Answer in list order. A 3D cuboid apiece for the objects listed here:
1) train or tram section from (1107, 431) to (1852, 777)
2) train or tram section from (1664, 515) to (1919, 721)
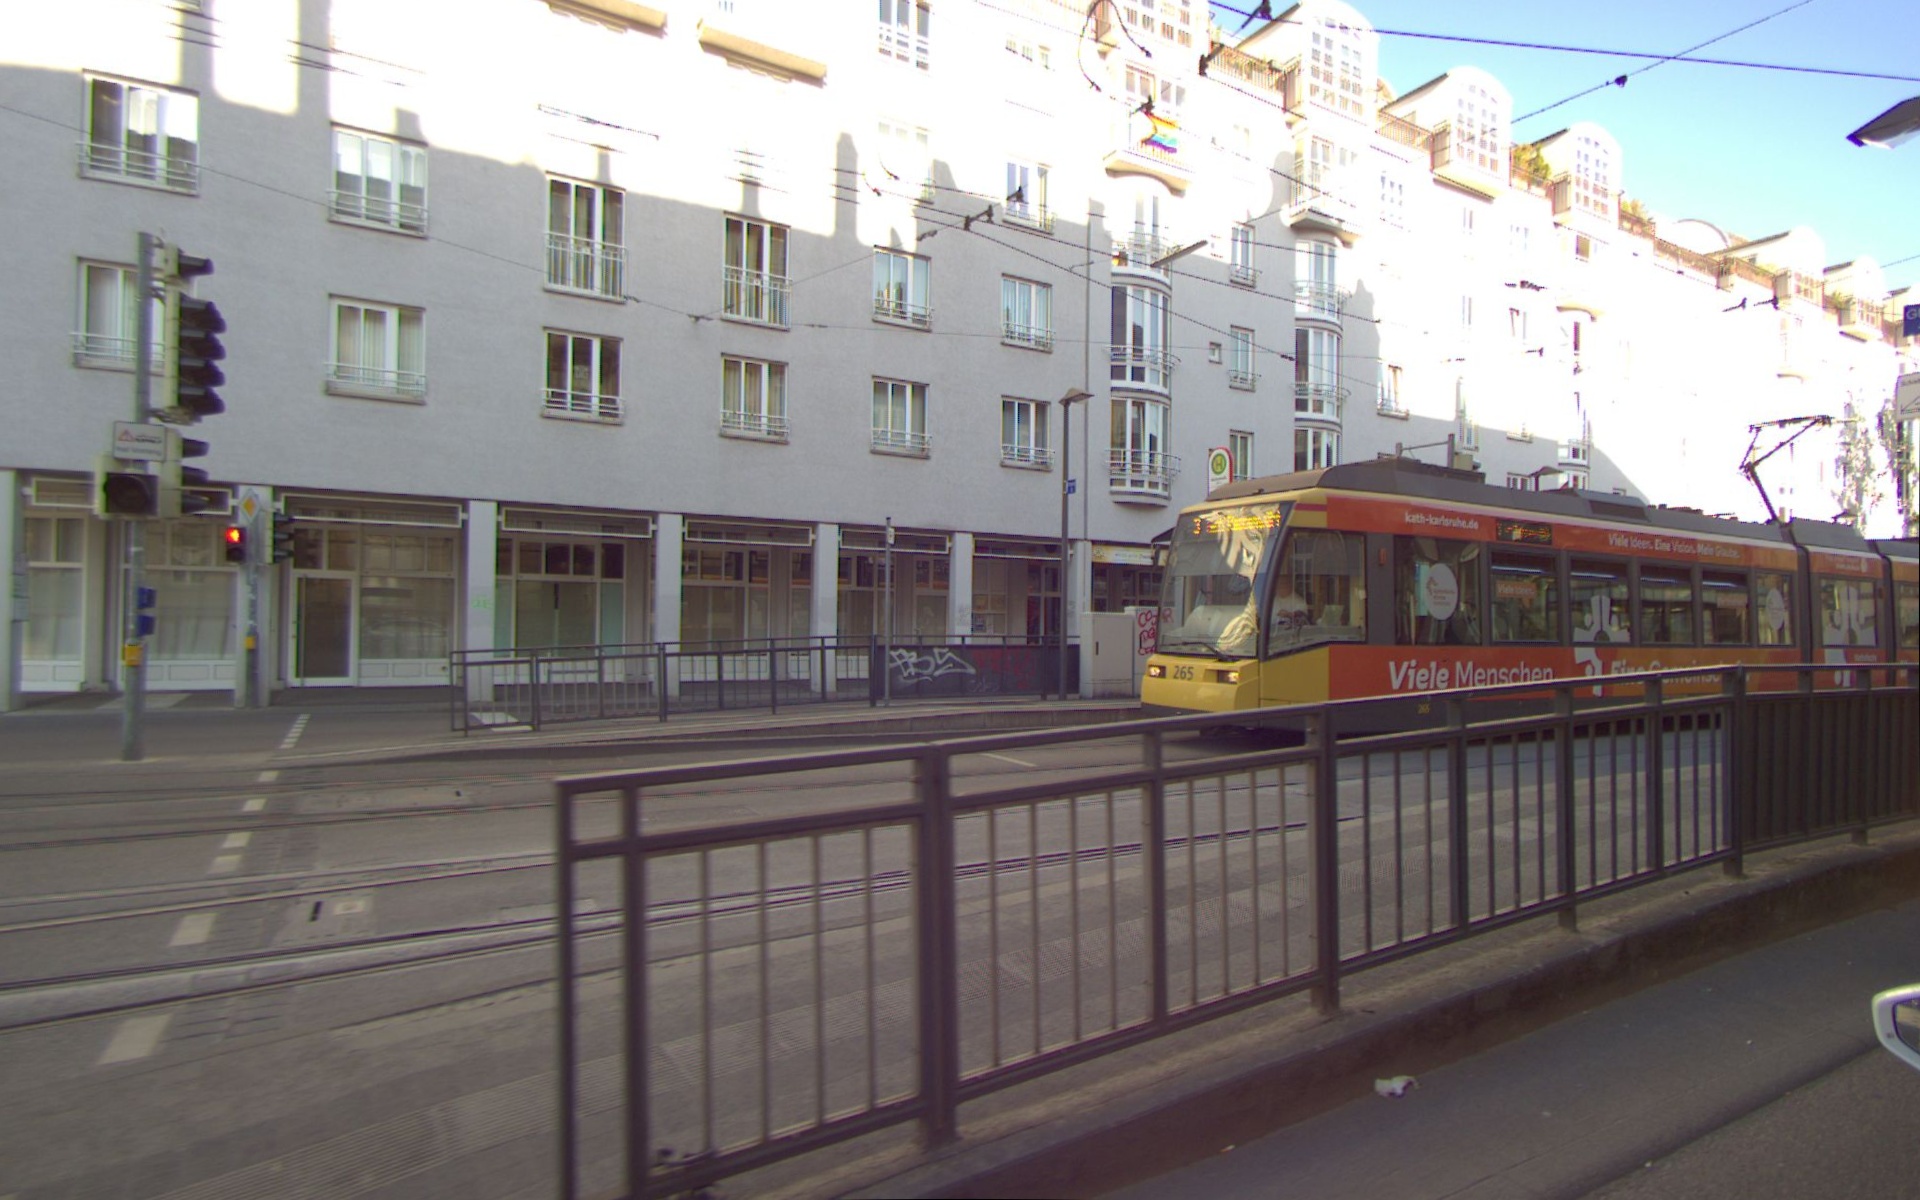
[{"bbox_3d":[8.610,0.229,15.044,14.001,3.536,2.872,1,-3,-30],"label":"train or tram section"},{"bbox_3d":[21.060,0.501,22.105,14.766,3.536,2.874,1,-3,-29],"label":"train or tram section"}]
